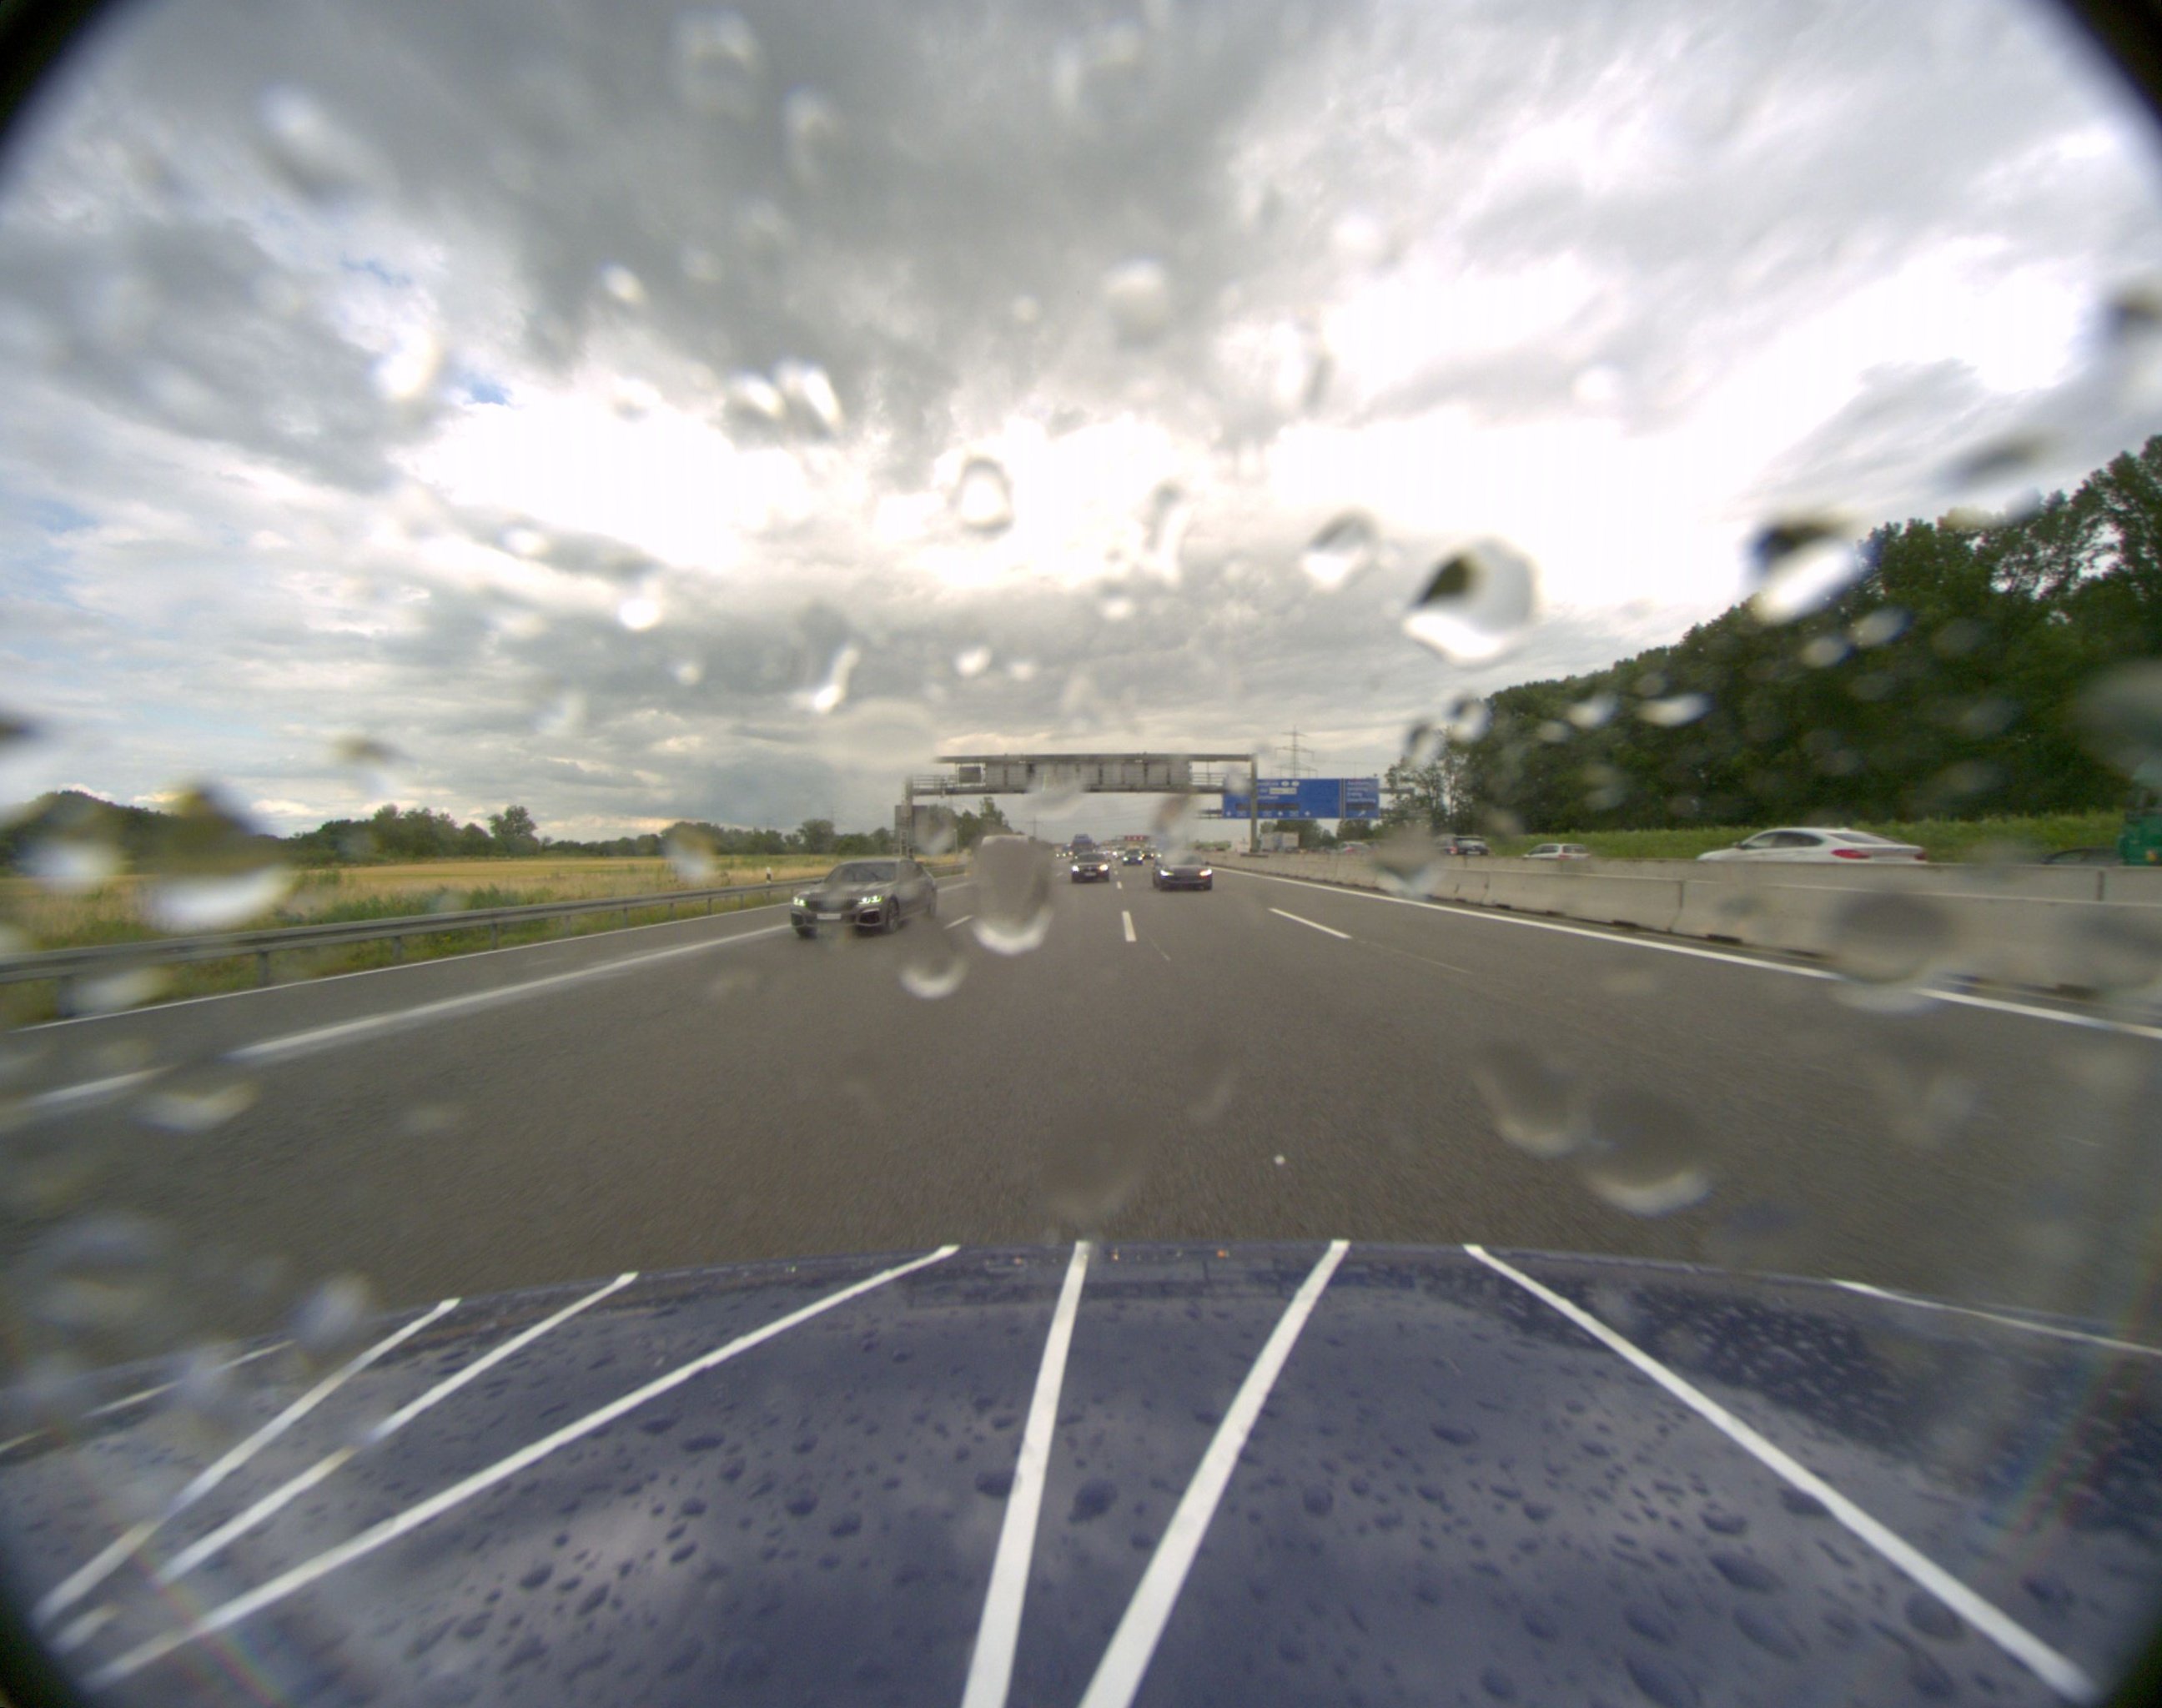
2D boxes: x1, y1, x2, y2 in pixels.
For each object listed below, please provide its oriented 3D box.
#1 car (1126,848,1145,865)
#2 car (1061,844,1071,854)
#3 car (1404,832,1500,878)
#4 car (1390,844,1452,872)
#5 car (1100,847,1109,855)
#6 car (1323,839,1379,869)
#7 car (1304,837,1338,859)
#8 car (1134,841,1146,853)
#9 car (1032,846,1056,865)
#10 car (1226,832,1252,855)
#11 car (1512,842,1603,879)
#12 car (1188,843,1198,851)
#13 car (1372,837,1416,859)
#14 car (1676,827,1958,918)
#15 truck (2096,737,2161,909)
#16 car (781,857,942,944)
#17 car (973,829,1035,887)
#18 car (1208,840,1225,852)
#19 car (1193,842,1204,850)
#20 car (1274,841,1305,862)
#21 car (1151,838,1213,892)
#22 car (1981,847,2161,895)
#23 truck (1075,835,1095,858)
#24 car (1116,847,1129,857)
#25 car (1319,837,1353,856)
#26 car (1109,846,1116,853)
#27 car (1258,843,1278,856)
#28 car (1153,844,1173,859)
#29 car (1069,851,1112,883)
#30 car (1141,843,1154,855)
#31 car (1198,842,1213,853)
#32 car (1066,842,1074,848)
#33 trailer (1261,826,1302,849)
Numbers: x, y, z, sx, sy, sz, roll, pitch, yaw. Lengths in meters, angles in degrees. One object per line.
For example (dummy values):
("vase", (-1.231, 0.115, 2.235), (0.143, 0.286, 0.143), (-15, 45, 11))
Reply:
("car", (5.256, 0.219, 73.040), (1.710, 1.562, 4.347), (-1, 1, 5))
("car", (-3.009, -1.030, 156.304), (1.835, 2.002, 3.862), (-1, 1, 1))
("car", (16.725, -0.006, 34.588), (1.998, 1.887, 5.186), (-1, 1, 2))
("car", (22.264, 0.225, 50.013), (1.998, 1.694, 5.078), (-1, 0, 3))
("car", (5.401, -0.683, 176.344), (1.998, 1.810, 5.163), (-1, 1, 3))
("car", (18.354, -0.041, 51.914), (1.998, 1.875, 5.186), (-1, 1, 1))
("car", (23.018, -0.630, 72.936), (1.998, 2.002, 4.000), (-1, 1, 1))
("car", (11.897, -1.426, 152.525), (2.144, 2.486, 5.449), (-1, 1, 5))
("car", (-3.271, 0.143, 68.193), (1.999, 1.632, 4.629), (-1, 0, -1))
("car", (19.532, -1.295, 93.956), (1.998, 2.601, 6.342), (-1, 1, 1))
("car", (26.111, 0.321, 41.849), (1.998, 1.842, 5.078), (-1, 0, 3))
("car", (27.424, -1.695, 185.685), (1.998, 1.717, 4.017), (-1, 1, 2))
("car", (26.402, -0.500, 64.246), (1.709, 1.783, 4.969), (-1, 1, 1))
("car", (17.142, 0.371, 18.189), (1.998, 1.842, 5.078), (-1, 0, 3))
("truck", (28.258, -0.767, 17.054), (3.126, 4.257, 5.911), (-1, 1, 3))
("car", (-4.502, 0.880, 16.454), (1.944, 1.482, 4.775), (-1, 1, 2))
("car", (-3.536, 0.123, 35.967), (2.145, 2.486, 5.448), (-1, 1, 2))
("car", (19.629, -1.096, 109.969), (1.873, 1.648, 4.000), (-1, 1, 2))
("car", (26.423, -1.816, 170.684), (1.998, 1.717, 4.017), (-1, 1, 1))
("car", (19.299, -0.247, 70.469), (1.709, 1.783, 4.429), (-1, 1, 1))
("car", (3.708, 0.362, 28.759), (1.998, 1.810, 5.163), (-1, 1, 4))
("car", (32.995, 0.495, 25.116), (1.806, 1.424, 3.999), (-1, 1, 1))
("truck", (0.525, -0.969, 94.529), (2.391, 2.726, 6.593), (-1, 1, 1))
("car", (6.245, -0.275, 115.142), (1.806, 1.424, 3.999), (-1, 1, 1))
("car", (28.099, -0.797, 83.757), (1.998, 2.002, 5.403), (-1, 1, 1))
("car", (9.055, -1.268, 221.344), (1.998, 1.801, 4.273), (-1, 1, 2))
("car", (27.062, -0.684, 110.140), (1.998, 1.696, 4.000), (-1, 1, 2))
("car", (8.996, -0.240, 83.616), (1.822, 1.565, 4.000), (-1, 1, 3))
("car", (0.509, 0.590, 36.966), (1.922, 1.407, 4.000), (-1, 0, 3))
("car", (9.489, -0.782, 108.066), (1.710, 1.622, 4.001), (-1, 1, 5))
("car", (20.847, -1.042, 127.344), (1.998, 1.717, 4.017), (-1, 1, 1))
("car", (-2.494, -2.008, 172.974), (1.545, 1.419, 3.999), (-1, 1, 1))
("trailer", (32.590, -2.639, 124.258), (3.117, 3.487, 14.451), (-1, 1, 1))
